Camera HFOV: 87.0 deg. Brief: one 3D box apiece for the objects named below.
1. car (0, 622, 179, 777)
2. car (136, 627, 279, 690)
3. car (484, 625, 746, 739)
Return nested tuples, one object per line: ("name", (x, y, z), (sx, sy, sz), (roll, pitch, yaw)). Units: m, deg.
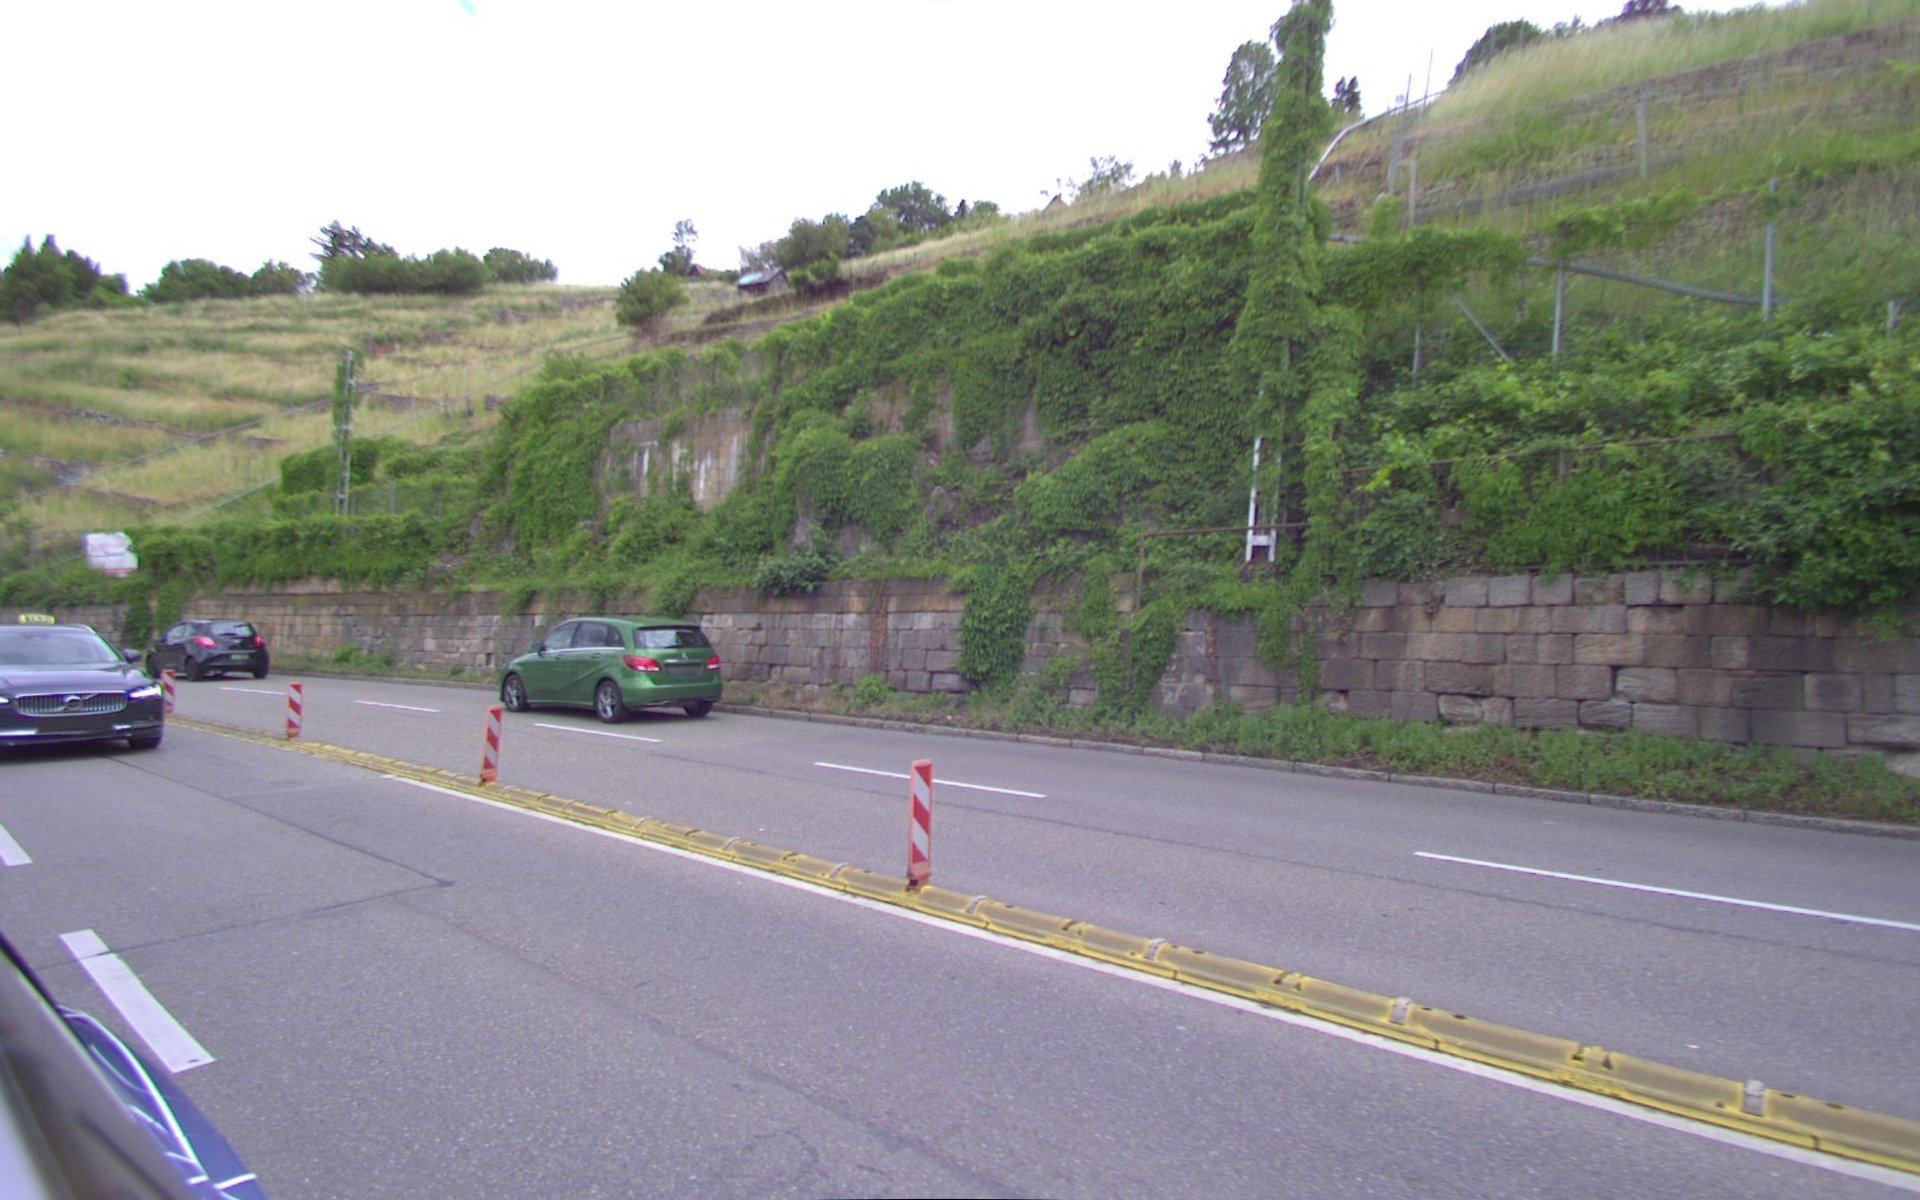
("car", (-10.735, 1.035, 11.644), (4.137, 1.505, 1.877), (-2, -1, 39))
("car", (-18.672, 1.392, 25.085), (3.991, 1.453, 1.691), (-1, -2, 35))
("car", (-5.505, 1.175, 15.934), (4.327, 1.527, 1.833), (-1, -1, 38))
